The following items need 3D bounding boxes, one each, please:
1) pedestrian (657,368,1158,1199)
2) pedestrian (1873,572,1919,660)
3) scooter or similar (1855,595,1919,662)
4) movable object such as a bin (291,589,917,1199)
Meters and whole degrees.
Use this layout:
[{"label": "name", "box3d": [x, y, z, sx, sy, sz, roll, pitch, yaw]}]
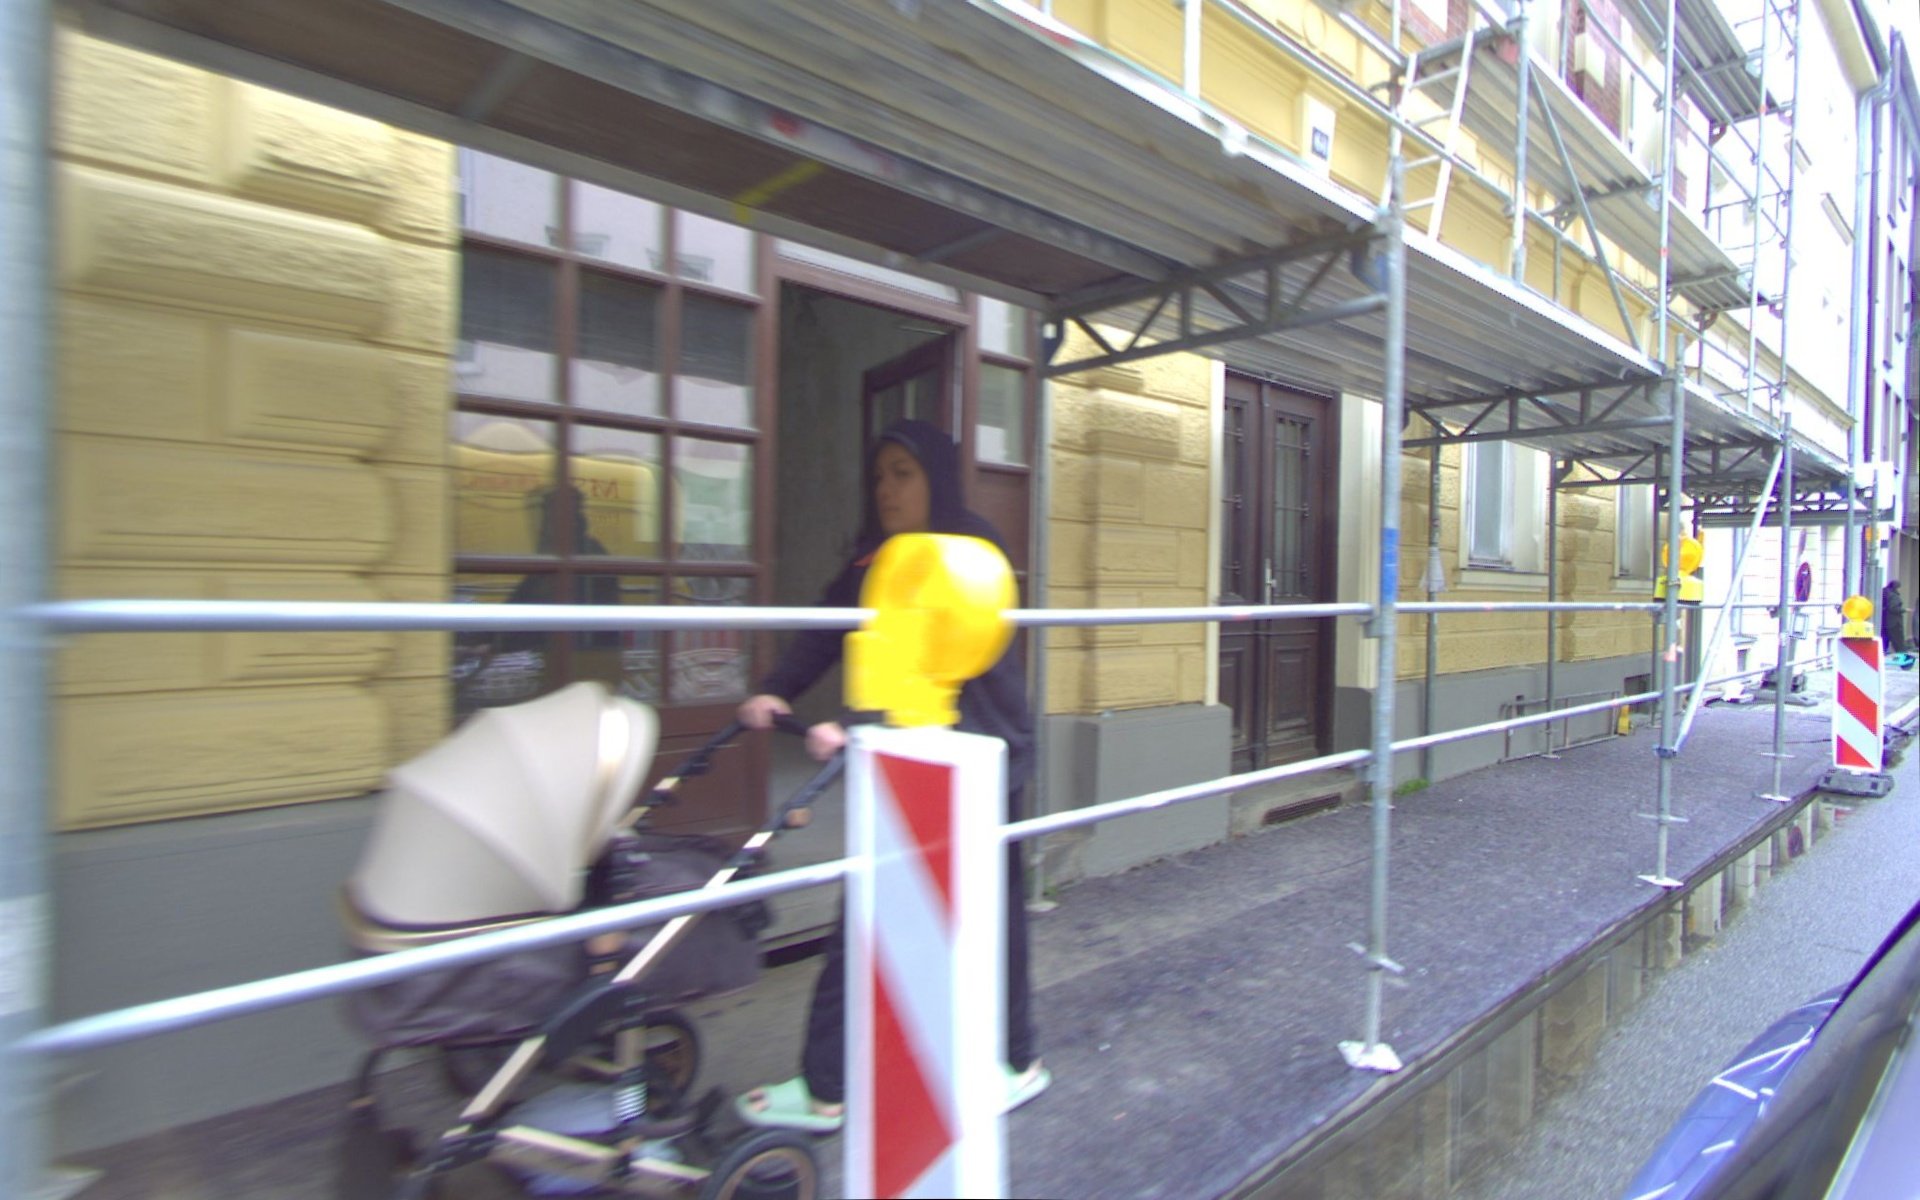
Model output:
[{"label": "pedestrian", "box3d": [-0.134, 0.399, 2.616, 0.971, 1.773, 0.731, 0, 4, -42]}, {"label": "pedestrian", "box3d": [18.965, 0.317, 20.326, 0.574, 1.706, 0.662, 0, 3, -22]}, {"label": "scooter or similar", "box3d": [18.141, 0.564, 19.324, 1.577, 1.198, 0.495, 3, 3, 0]}, {"label": "movable object such as a bin", "box3d": [-0.722, 0.587, 2.072, 0.971, 1.154, 0.731, 0, 5, -42]}]
